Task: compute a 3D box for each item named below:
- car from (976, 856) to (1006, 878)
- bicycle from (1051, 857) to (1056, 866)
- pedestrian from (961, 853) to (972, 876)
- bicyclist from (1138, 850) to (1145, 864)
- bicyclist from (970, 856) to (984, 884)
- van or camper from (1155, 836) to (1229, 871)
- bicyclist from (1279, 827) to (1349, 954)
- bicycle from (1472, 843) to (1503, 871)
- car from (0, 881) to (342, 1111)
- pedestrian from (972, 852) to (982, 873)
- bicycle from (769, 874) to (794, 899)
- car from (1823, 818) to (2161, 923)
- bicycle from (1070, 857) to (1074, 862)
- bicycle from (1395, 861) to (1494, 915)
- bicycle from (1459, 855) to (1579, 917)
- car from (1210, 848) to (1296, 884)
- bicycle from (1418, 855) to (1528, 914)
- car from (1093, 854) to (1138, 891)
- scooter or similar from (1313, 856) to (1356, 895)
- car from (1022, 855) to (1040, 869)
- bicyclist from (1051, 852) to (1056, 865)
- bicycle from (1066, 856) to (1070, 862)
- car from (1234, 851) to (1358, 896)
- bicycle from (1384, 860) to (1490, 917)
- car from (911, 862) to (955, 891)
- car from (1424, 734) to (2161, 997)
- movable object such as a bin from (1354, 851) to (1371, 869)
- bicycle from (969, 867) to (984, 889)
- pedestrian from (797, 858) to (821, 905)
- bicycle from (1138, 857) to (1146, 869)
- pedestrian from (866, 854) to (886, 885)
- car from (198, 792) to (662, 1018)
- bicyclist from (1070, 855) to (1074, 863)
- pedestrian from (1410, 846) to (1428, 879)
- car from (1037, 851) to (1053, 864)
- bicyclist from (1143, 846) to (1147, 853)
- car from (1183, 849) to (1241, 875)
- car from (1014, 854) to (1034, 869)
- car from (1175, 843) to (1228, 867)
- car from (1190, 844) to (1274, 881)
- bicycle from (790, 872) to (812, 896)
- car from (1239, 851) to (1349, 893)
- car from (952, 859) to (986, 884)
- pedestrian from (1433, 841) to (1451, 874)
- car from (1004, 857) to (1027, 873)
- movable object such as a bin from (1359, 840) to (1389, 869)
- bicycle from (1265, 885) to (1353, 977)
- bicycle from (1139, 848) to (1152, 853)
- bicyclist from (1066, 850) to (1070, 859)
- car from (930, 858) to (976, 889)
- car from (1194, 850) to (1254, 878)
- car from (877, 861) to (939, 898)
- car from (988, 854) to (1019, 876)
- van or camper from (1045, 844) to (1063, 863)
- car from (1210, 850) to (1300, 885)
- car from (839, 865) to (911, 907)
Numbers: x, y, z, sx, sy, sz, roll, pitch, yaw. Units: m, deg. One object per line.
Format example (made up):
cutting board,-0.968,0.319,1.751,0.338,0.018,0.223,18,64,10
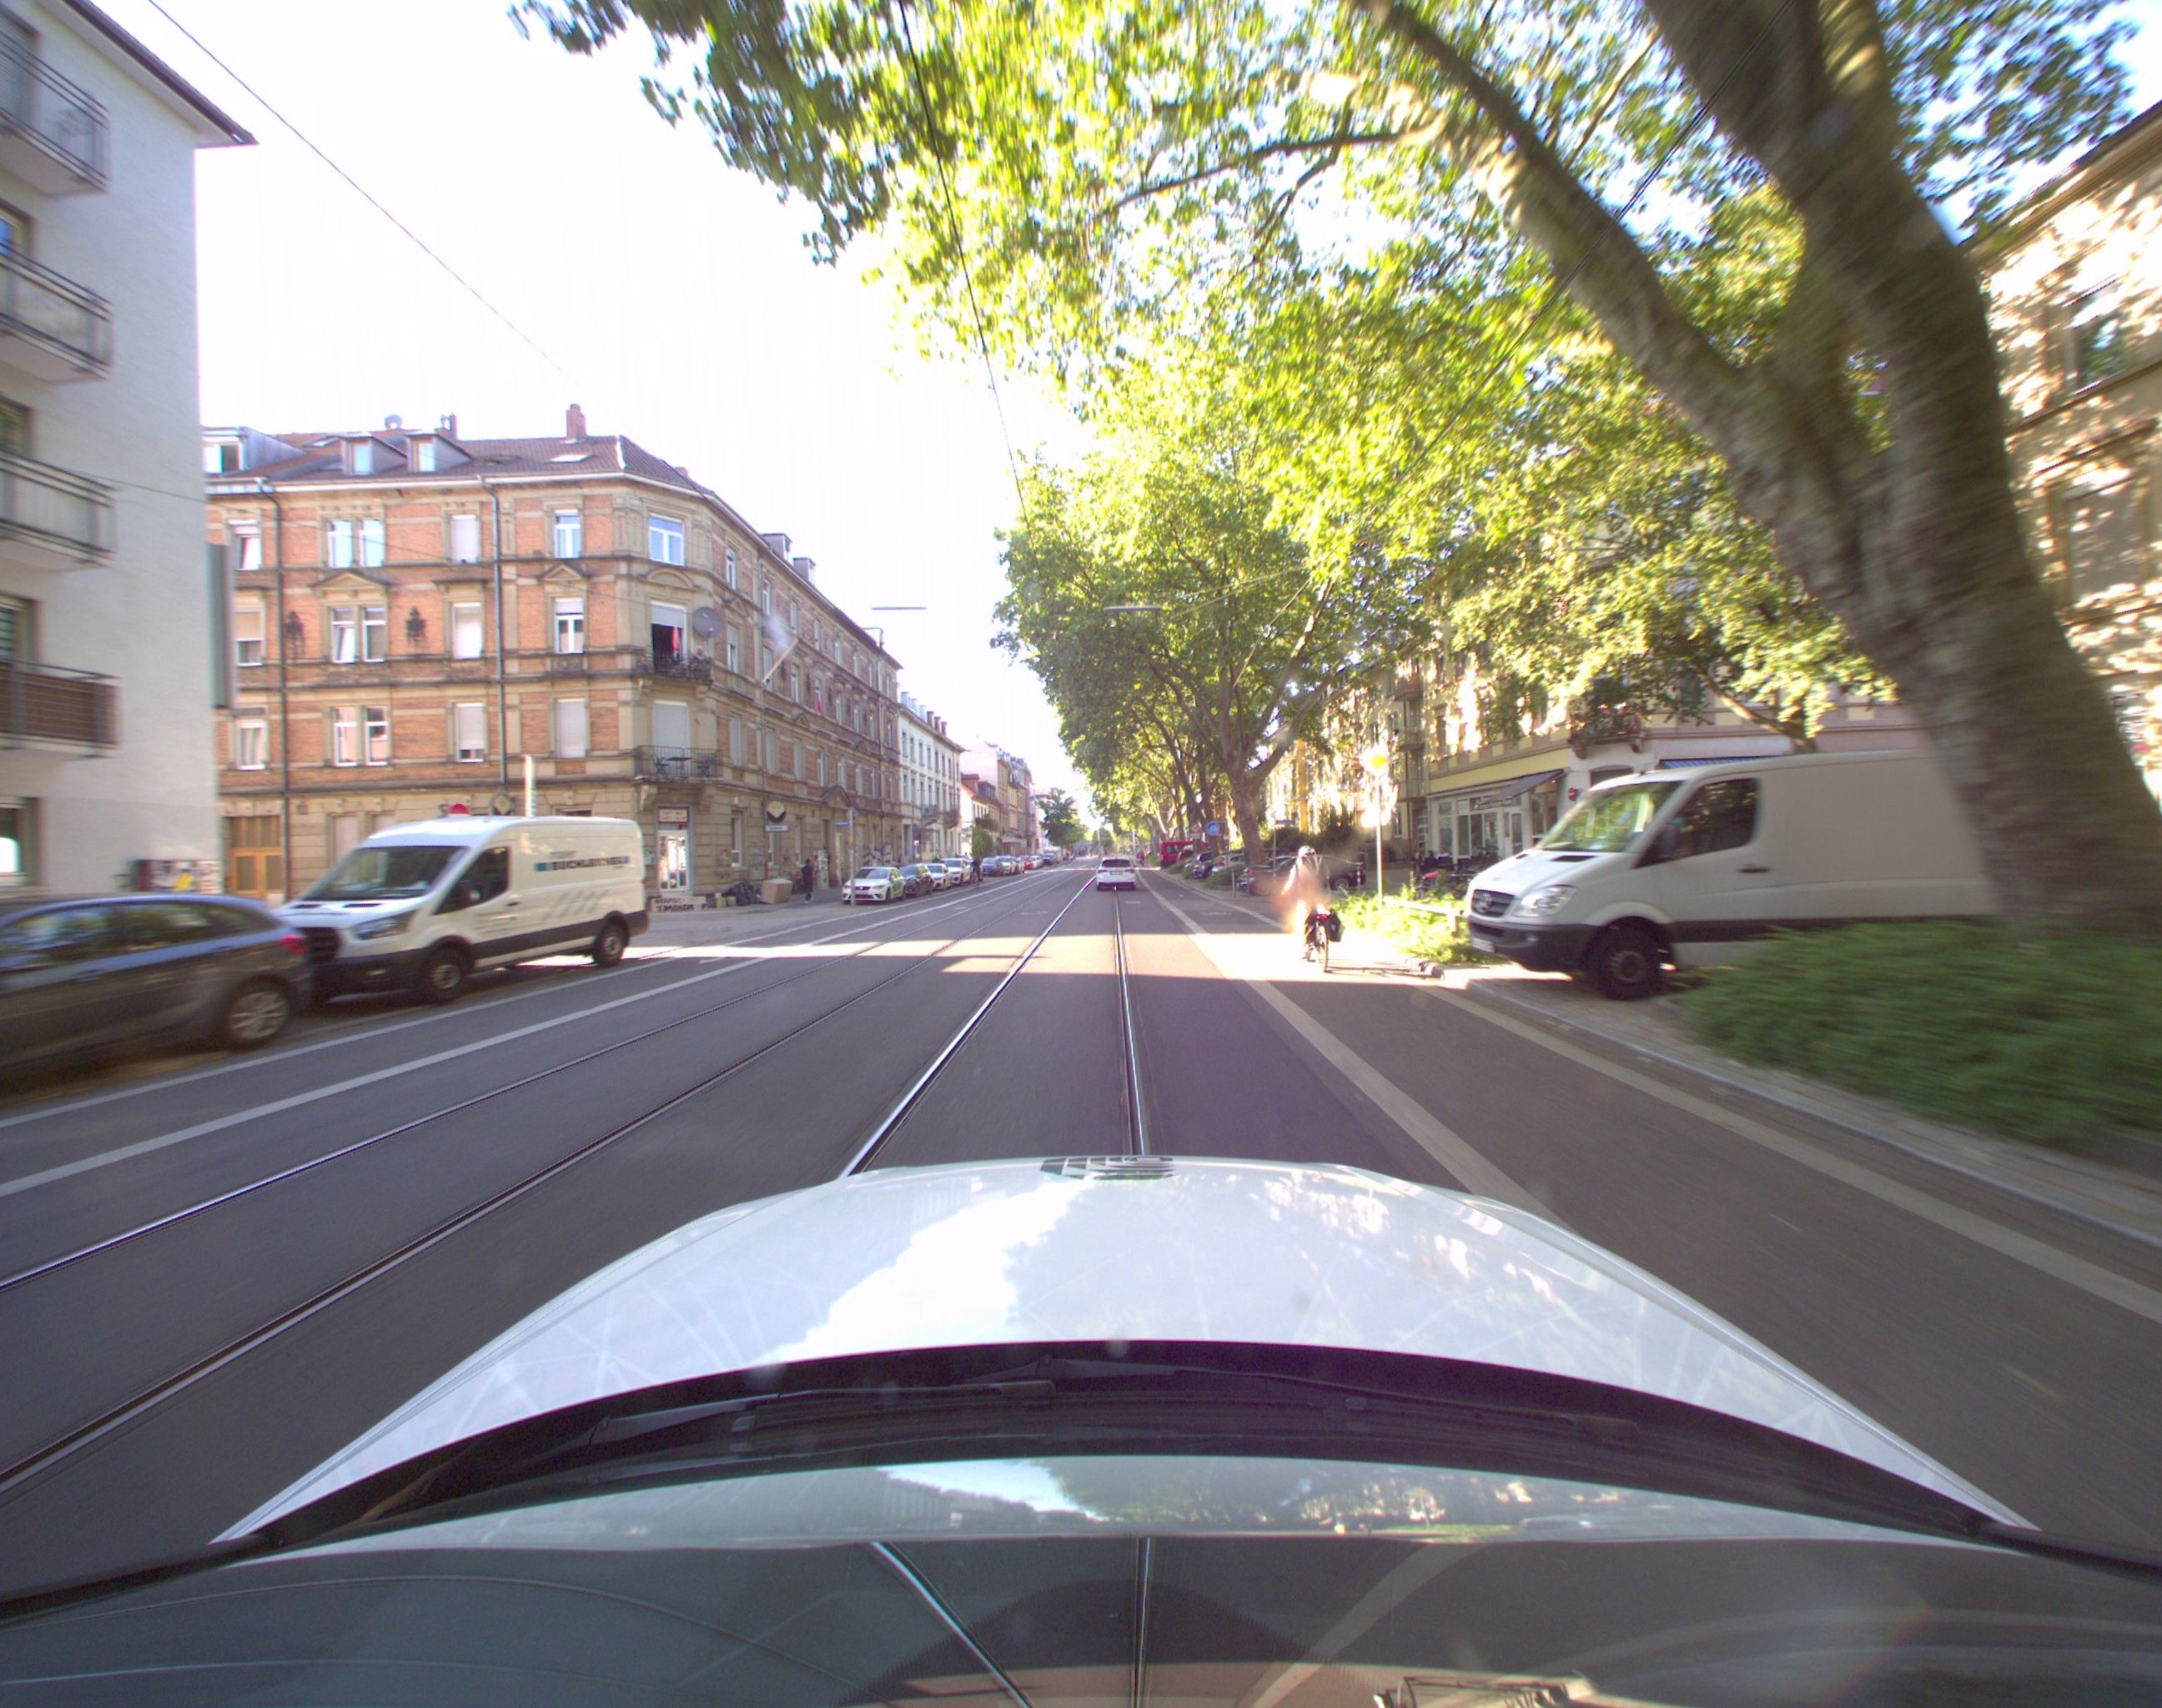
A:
car,-6.965,0.989,63.468,1.547,1.515,3.929,-2,0,5
bicycle,-3.413,0.941,100.626,0.479,1.086,1.848,-2,0,3
pedestrian,-10.112,0.890,71.889,0.757,2.013,0.830,-2,0,0
bicyclist,6.076,0.304,81.504,0.676,1.339,0.525,-1,0,2
bicyclist,-5.676,0.883,44.647,0.580,1.482,0.807,-3,0,2
van or camper,9.338,-0.048,68.859,5.796,2.518,2.288,-4,1,0
bicyclist,3.021,0.452,10.643,0.612,1.552,0.936,3,0,2
bicycle,17.568,0.129,35.241,0.468,1.156,1.747,-4,1,3
car,-8.972,1.139,6.702,1.712,1.631,4.347,-2,0,1
pedestrian,-9.168,0.708,71.760,0.757,1.821,0.830,-2,0,-1
bicycle,-13.207,1.408,35.936,0.371,1.034,1.848,-2,0,0
car,14.538,0.236,13.220,1.727,1.455,3.569,-1,0,-1
bicycle,-1.803,1.009,157.275,0.496,0.943,1.924,-4,0,4
bicycle,8.349,0.777,18.756,2.029,1.179,0.414,-2,-1,10
bicycle,8.613,0.642,16.092,2.024,1.179,0.415,-2,-1,23
car,8.863,0.597,42.158,4.014,1.643,1.681,-3,0,0
bicycle,8.194,0.648,17.080,2.029,1.179,0.414,-2,-1,10
car,1.448,0.777,35.755,1.836,1.480,3.838,-1,0,0
scooter or similar,8.303,0.707,26.686,1.297,1.256,0.342,-2,0,15
car,-5.814,0.918,95.441,1.821,1.502,4.688,-1,0,0
bicyclist,-3.437,0.574,100.602,0.471,1.636,0.800,-2,0,3
bicycle,-2.378,0.965,150.169,0.482,1.047,2.042,-4,0,4
car,7.905,0.688,30.205,4.083,1.491,1.830,-2,0,-1
bicycle,7.697,0.740,17.654,2.029,1.179,0.414,-2,-1,10
car,-7.783,1.158,43.109,1.695,1.420,3.997,-1,0,-2
car,7.121,0.119,8.748,5.965,2.282,2.008,-2,1,3
movable object such as a bin,15.746,0.333,45.619,0.745,0.943,0.466,-3,0,2
bicycle,-5.742,1.292,44.760,0.419,1.150,2.233,-3,-1,2
pedestrian,-10.631,1.046,31.895,0.683,1.801,1.054,-1,0,-7
bicycle,6.095,0.856,81.346,0.677,1.155,2.966,-1,0,3
pedestrian,-11.217,0.855,44.597,0.656,1.665,0.773,-1,0,34
car,-8.970,0.587,12.203,2.056,2.535,5.673,-2,0,4
bicyclist,-1.774,0.900,157.419,0.635,1.503,1.071,-3,0,3
pedestrian,14.122,0.349,34.012,0.480,1.375,1.063,-2,0,33
car,-5.080,0.529,116.567,1.957,1.781,4.938,1,0,1
bicyclist,14.715,-1.116,187.508,0.731,1.589,0.589,-2,0,15
car,8.751,0.536,54.491,3.581,1.517,1.694,-3,0,2
car,-6.271,0.851,89.851,1.561,1.562,3.455,-2,0,6
car,9.489,0.089,64.221,3.807,1.649,1.767,-4,-1,-1
car,8.339,0.462,45.211,4.249,1.718,1.849,-4,0,-1
bicycle,-13.073,1.399,38.112,0.371,1.034,1.848,-2,0,0
car,8.528,0.709,32.861,4.075,1.491,1.684,-2,0,6
car,-7.401,1.122,53.969,1.657,1.521,4.064,-1,0,0
pedestrian,15.059,0.141,33.997,0.480,1.328,0.691,-2,0,39
car,-6.409,1.057,79.798,1.680,1.477,4.260,-1,0,2
movable object such as a bin,15.735,0.027,43.813,1.162,1.437,1.118,-3,0,2
bicycle,3.057,0.982,11.157,0.593,1.004,2.513,1,0,2
bicycle,14.856,-0.767,187.430,2.748,0.999,0.595,-1,0,17
bicyclist,-2.405,0.038,150.311,0.533,1.634,0.897,-4,-1,4
car,-7.570,1.100,48.521,1.779,1.723,4.721,-1,0,2
car,9.106,0.648,52.070,3.581,1.599,1.542,-2,-1,2
car,-7.972,1.140,37.974,1.734,1.562,4.787,-1,0,1
car,-6.521,0.933,68.962,1.849,1.703,4.767,-2,0,3
van or camper,-4.442,-0.078,135.908,2.206,3.140,7.121,-1,0,4
car,8.413,0.646,39.628,4.014,1.480,1.681,-3,0,0
car,-8.189,1.231,32.711,1.734,1.492,4.046,-1,0,1
